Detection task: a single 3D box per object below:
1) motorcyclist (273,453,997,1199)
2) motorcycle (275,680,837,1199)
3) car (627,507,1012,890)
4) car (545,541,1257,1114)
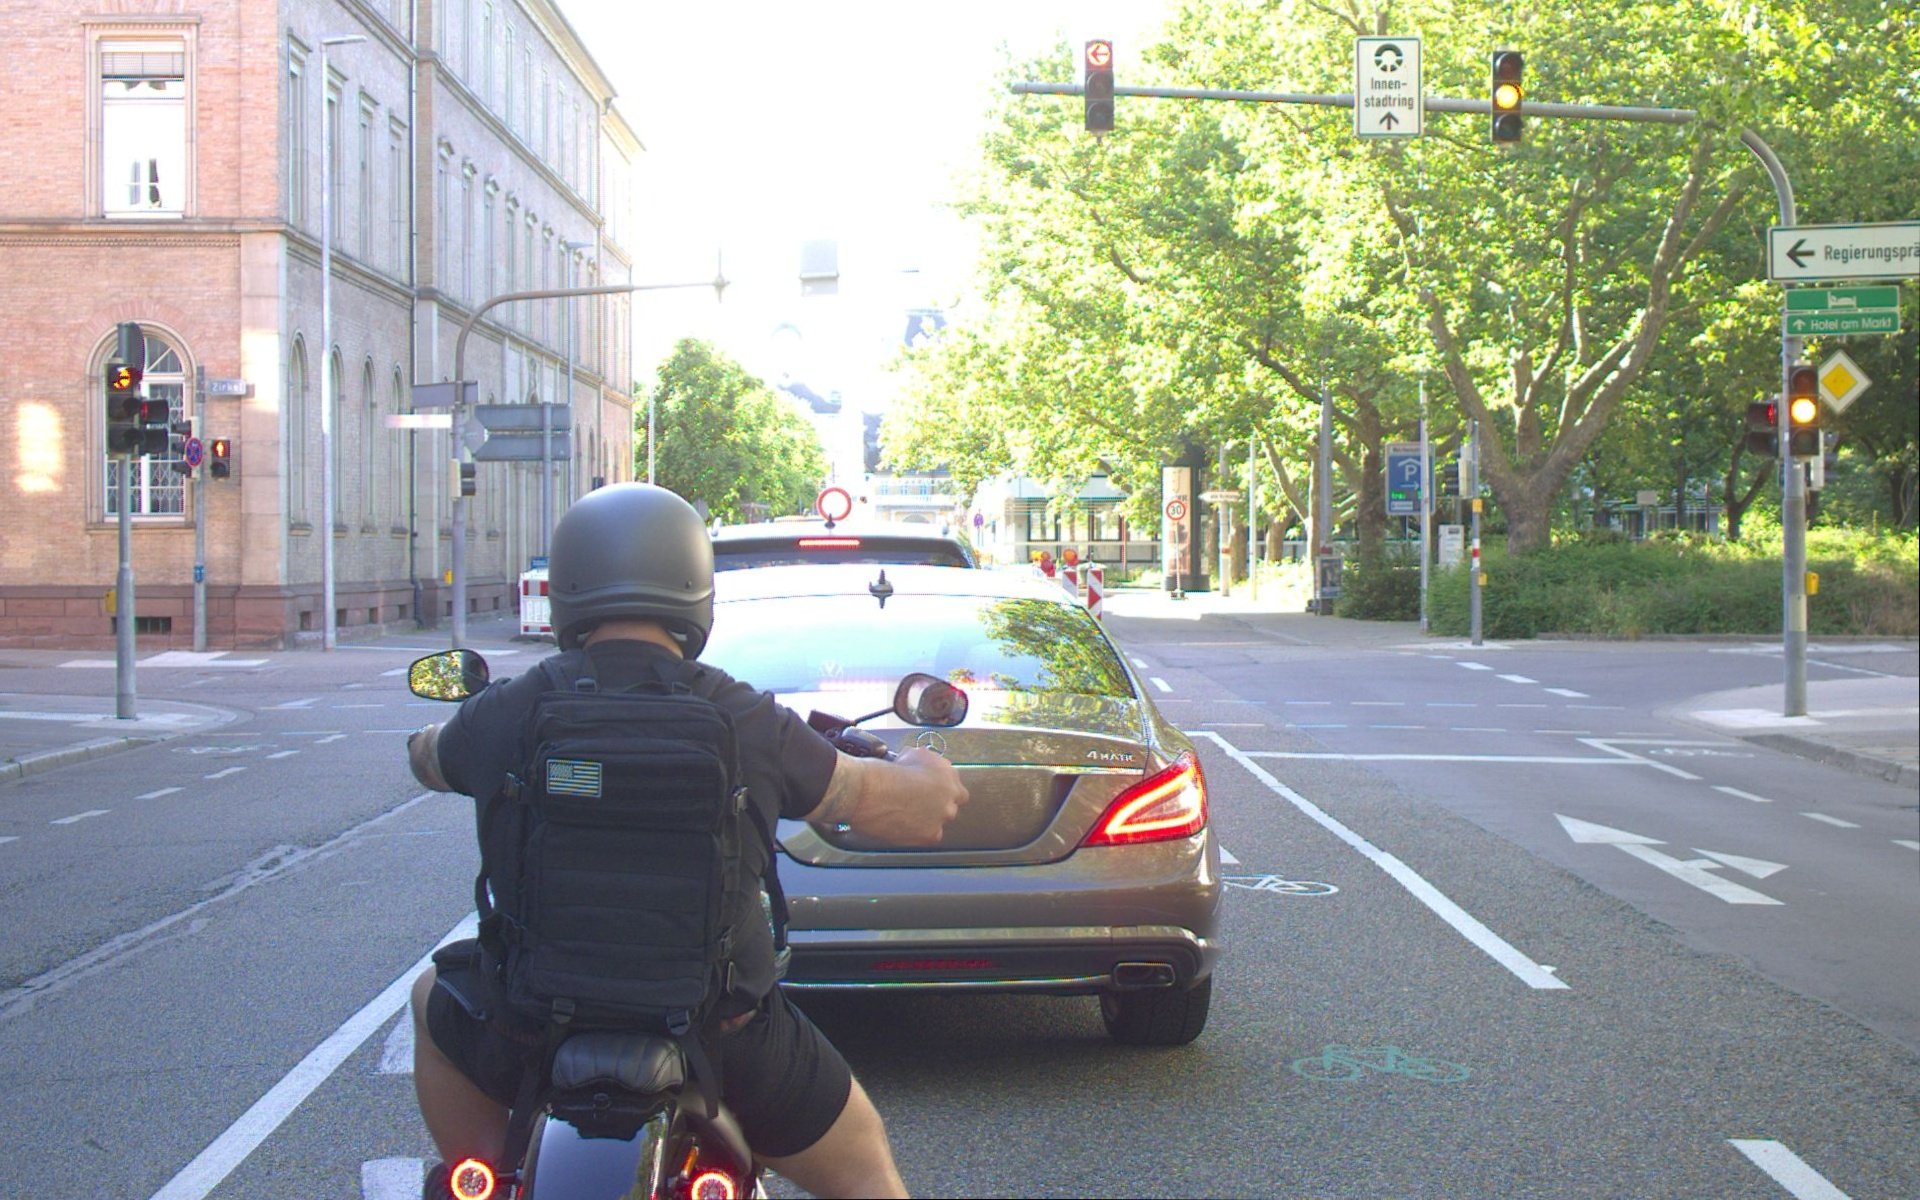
[{"bbox_3d":[-0.460,0.600,5.329,0.990,1.605,1.120,1,0,-1],"label":"motorcyclist"},{"bbox_3d":[-0.557,0.783,5.424,0.660,1.236,2.058,1,1,-1],"label":"motorcycle"},{"bbox_3d":[-0.632,0.409,16.975,1.651,1.646,4.000,1,1,-1],"label":"car"},{"bbox_3d":[-0.401,0.573,11.129,1.824,1.481,4.334,1,1,-7],"label":"car"}]
